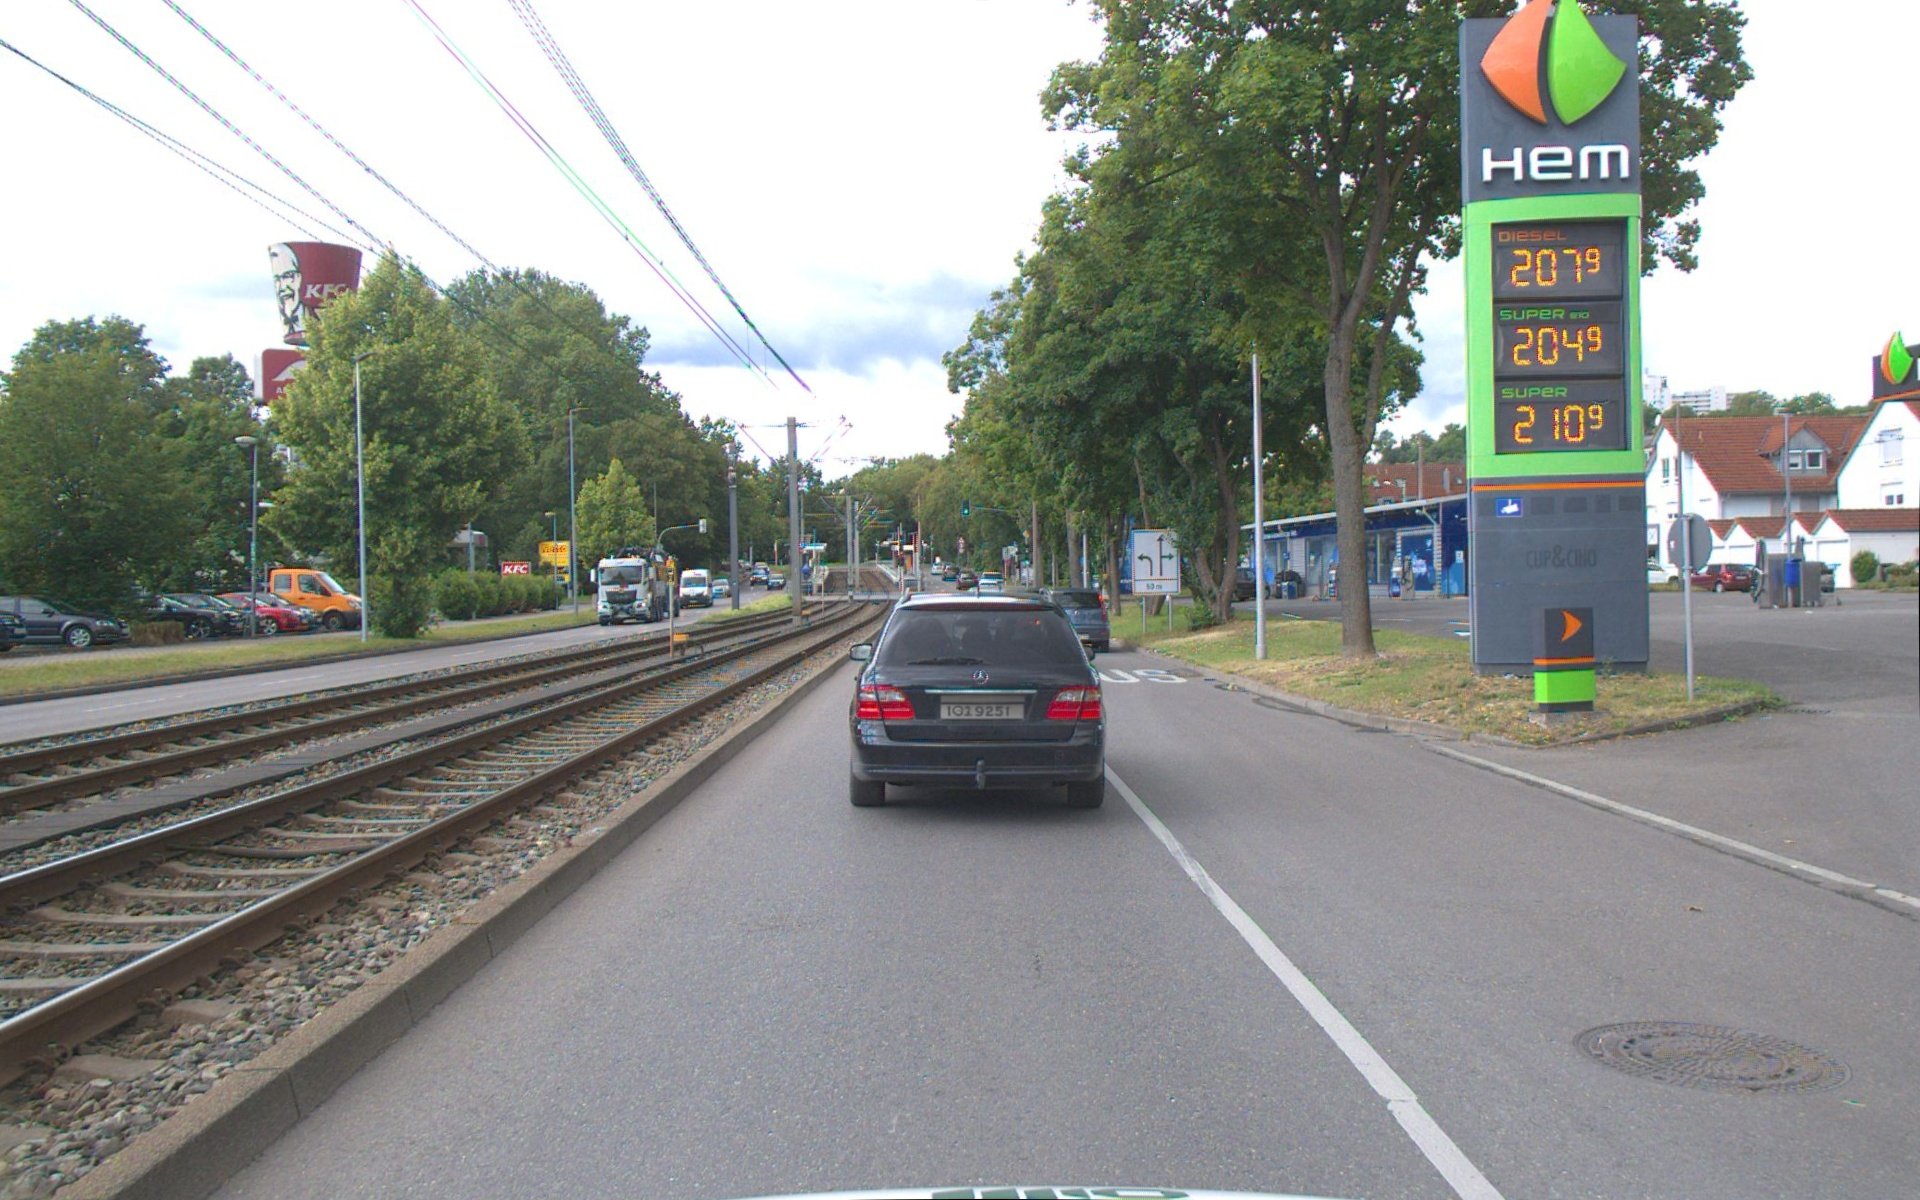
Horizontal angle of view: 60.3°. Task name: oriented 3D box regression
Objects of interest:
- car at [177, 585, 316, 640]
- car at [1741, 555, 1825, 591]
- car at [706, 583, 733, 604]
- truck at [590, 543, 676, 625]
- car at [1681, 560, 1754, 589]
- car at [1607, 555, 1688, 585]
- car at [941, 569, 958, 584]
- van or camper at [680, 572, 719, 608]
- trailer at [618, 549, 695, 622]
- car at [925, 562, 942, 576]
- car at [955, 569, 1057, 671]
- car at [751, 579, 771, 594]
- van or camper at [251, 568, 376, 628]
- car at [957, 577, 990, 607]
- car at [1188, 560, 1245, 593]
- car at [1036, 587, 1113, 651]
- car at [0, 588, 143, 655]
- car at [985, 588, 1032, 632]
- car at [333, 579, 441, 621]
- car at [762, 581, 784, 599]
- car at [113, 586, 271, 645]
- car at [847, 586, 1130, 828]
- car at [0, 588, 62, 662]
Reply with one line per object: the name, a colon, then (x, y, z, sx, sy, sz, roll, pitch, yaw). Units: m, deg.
car: (-24.104, 0.400, 55.978, 3.909, 1.829, 1.876, 0, 0, -6)
car: (38.523, -1.256, 77.487, 1.506, 1.627, 3.725, 0, 0, -13)
car: (-20.036, -0.547, 138.015, 1.729, 1.676, 3.770, 0, 0, -1)
truck: (-16.189, -0.794, 82.667, 2.653, 3.727, 11.104, -2, 1, -4)
car: (37.842, -1.255, 82.711, 1.553, 1.418, 3.407, 0, 0, -13)
car: (41.106, -1.776, 98.927, 4.132, 1.713, 1.776, 0, 0, -4)
car: (-1.186, -2.587, 180.085, 1.634, 1.559, 3.768, 0, 0, -4)
van or camper: (-17.827, -0.708, 113.345, 1.954, 2.395, 5.763, -2, 1, -3)
trailer: (-16.804, -0.837, 92.451, 2.651, 3.724, 13.289, -2, 1, -4)
car: (-3.246, -3.797, 202.636, 1.953, 1.744, 4.000, -1, 1, -1)
car: (0.803, 0.350, 31.039, 1.744, 1.781, 3.717, 1, 0, -1)
car: (-22.028, -1.513, 183.292, 1.729, 1.676, 3.770, 0, 0, -1)
van or camper: (-23.828, -0.084, 61.105, 3.909, 2.172, 1.876, 0, 0, -6)
car: (0.828, -0.527, 105.192, 1.953, 1.870, 3.999, 0, 0, -1)
car: (13.851, -1.284, 89.148, 1.965, 1.712, 4.579, -1, 1, 23)
car: (2.702, 0.420, 39.458, 1.539, 1.439, 3.354, 1, 0, -1)
car: (-23.864, 0.557, 43.380, 3.910, 1.627, 1.876, -2, 1, -6)
car: (1.609, 0.321, 55.908, 1.436, 1.439, 3.354, 1, 0, -1)
car: (-24.146, -0.003, 69.790, 3.910, 1.627, 1.795, -2, 1, -6)
car: (-17.875, -0.919, 158.229, 1.729, 1.676, 3.770, 0, 0, -1)
car: (-23.320, 0.457, 50.347, 3.910, 1.627, 1.876, -2, 1, -6)
car: (0.155, 0.657, 12.304, 1.771, 1.500, 3.880, 0, 1, -1)
car: (-23.448, 0.613, 38.566, 3.910, 1.663, 1.876, -2, 1, -6)
